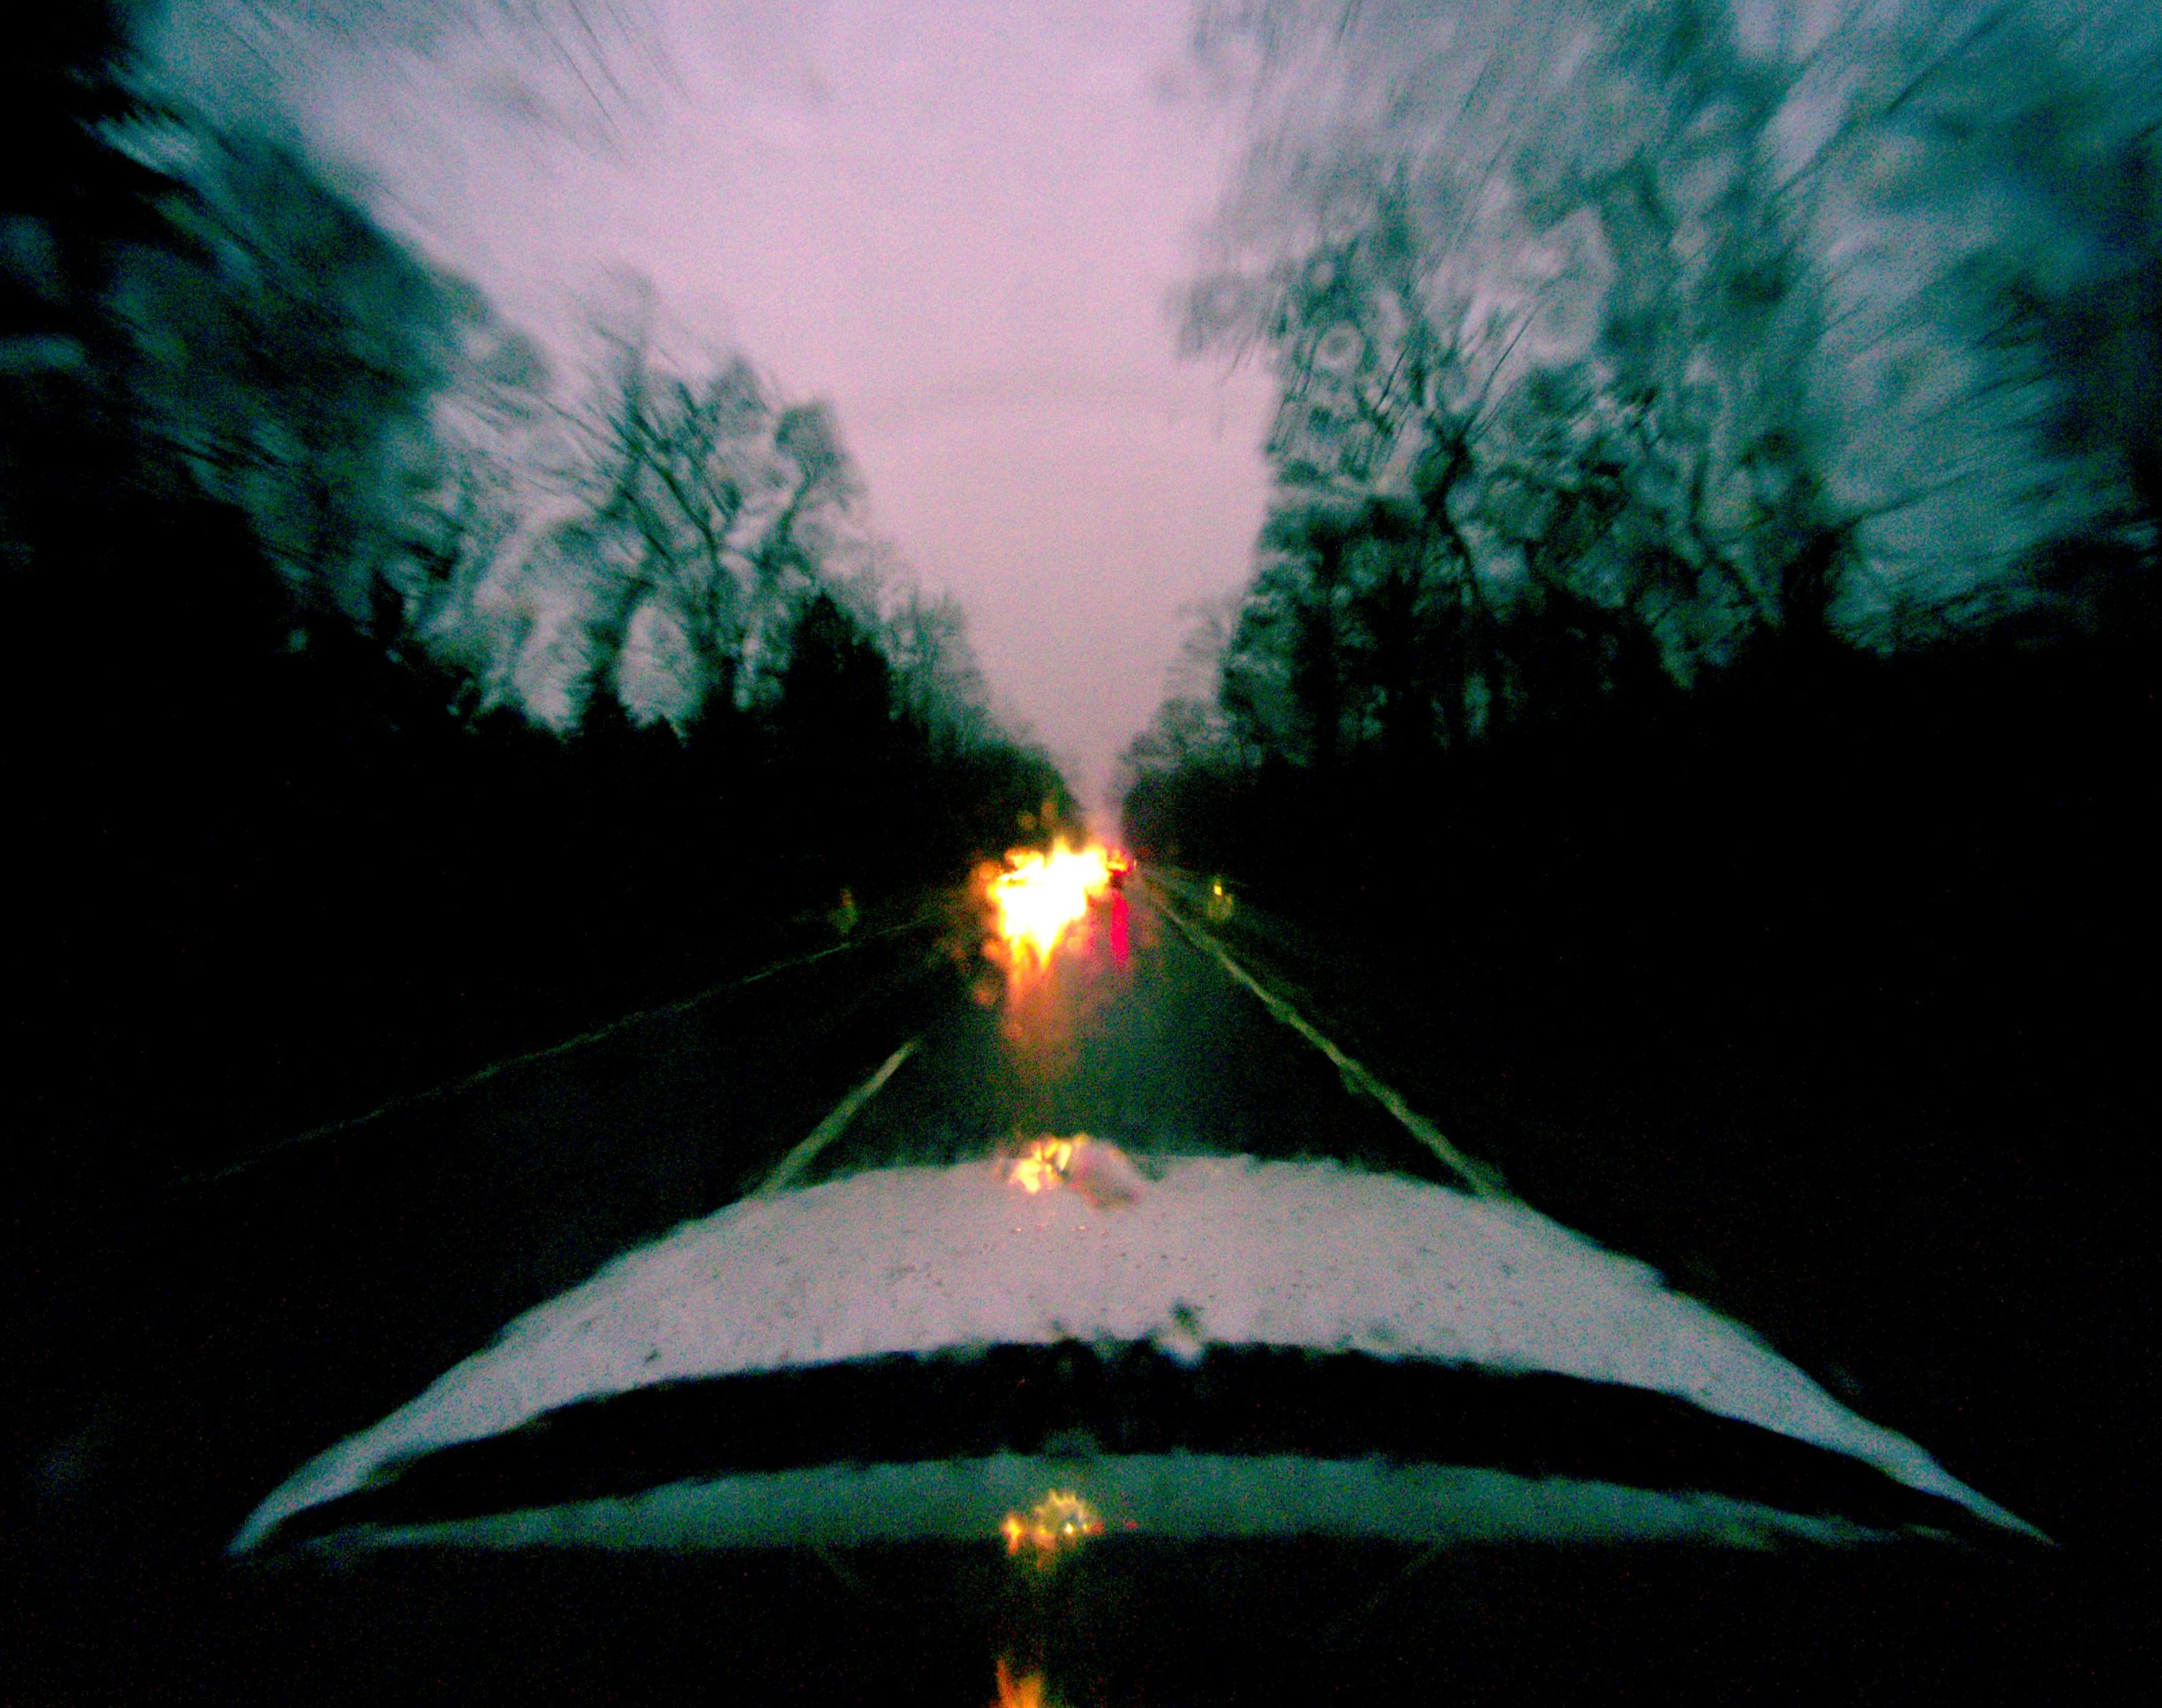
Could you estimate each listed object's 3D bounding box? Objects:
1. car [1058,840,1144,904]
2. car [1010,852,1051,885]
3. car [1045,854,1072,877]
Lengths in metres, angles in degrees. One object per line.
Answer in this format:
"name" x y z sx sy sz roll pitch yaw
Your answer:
"car" 0.902 0.688 33.614 3.171 2.386 6.640 0 0 2
"car" -2.641 0.754 43.378 1.793 1.600 3.863 -3 0 1
"car" -1.765 0.892 66.373 1.815 1.649 4.752 -3 1 2
